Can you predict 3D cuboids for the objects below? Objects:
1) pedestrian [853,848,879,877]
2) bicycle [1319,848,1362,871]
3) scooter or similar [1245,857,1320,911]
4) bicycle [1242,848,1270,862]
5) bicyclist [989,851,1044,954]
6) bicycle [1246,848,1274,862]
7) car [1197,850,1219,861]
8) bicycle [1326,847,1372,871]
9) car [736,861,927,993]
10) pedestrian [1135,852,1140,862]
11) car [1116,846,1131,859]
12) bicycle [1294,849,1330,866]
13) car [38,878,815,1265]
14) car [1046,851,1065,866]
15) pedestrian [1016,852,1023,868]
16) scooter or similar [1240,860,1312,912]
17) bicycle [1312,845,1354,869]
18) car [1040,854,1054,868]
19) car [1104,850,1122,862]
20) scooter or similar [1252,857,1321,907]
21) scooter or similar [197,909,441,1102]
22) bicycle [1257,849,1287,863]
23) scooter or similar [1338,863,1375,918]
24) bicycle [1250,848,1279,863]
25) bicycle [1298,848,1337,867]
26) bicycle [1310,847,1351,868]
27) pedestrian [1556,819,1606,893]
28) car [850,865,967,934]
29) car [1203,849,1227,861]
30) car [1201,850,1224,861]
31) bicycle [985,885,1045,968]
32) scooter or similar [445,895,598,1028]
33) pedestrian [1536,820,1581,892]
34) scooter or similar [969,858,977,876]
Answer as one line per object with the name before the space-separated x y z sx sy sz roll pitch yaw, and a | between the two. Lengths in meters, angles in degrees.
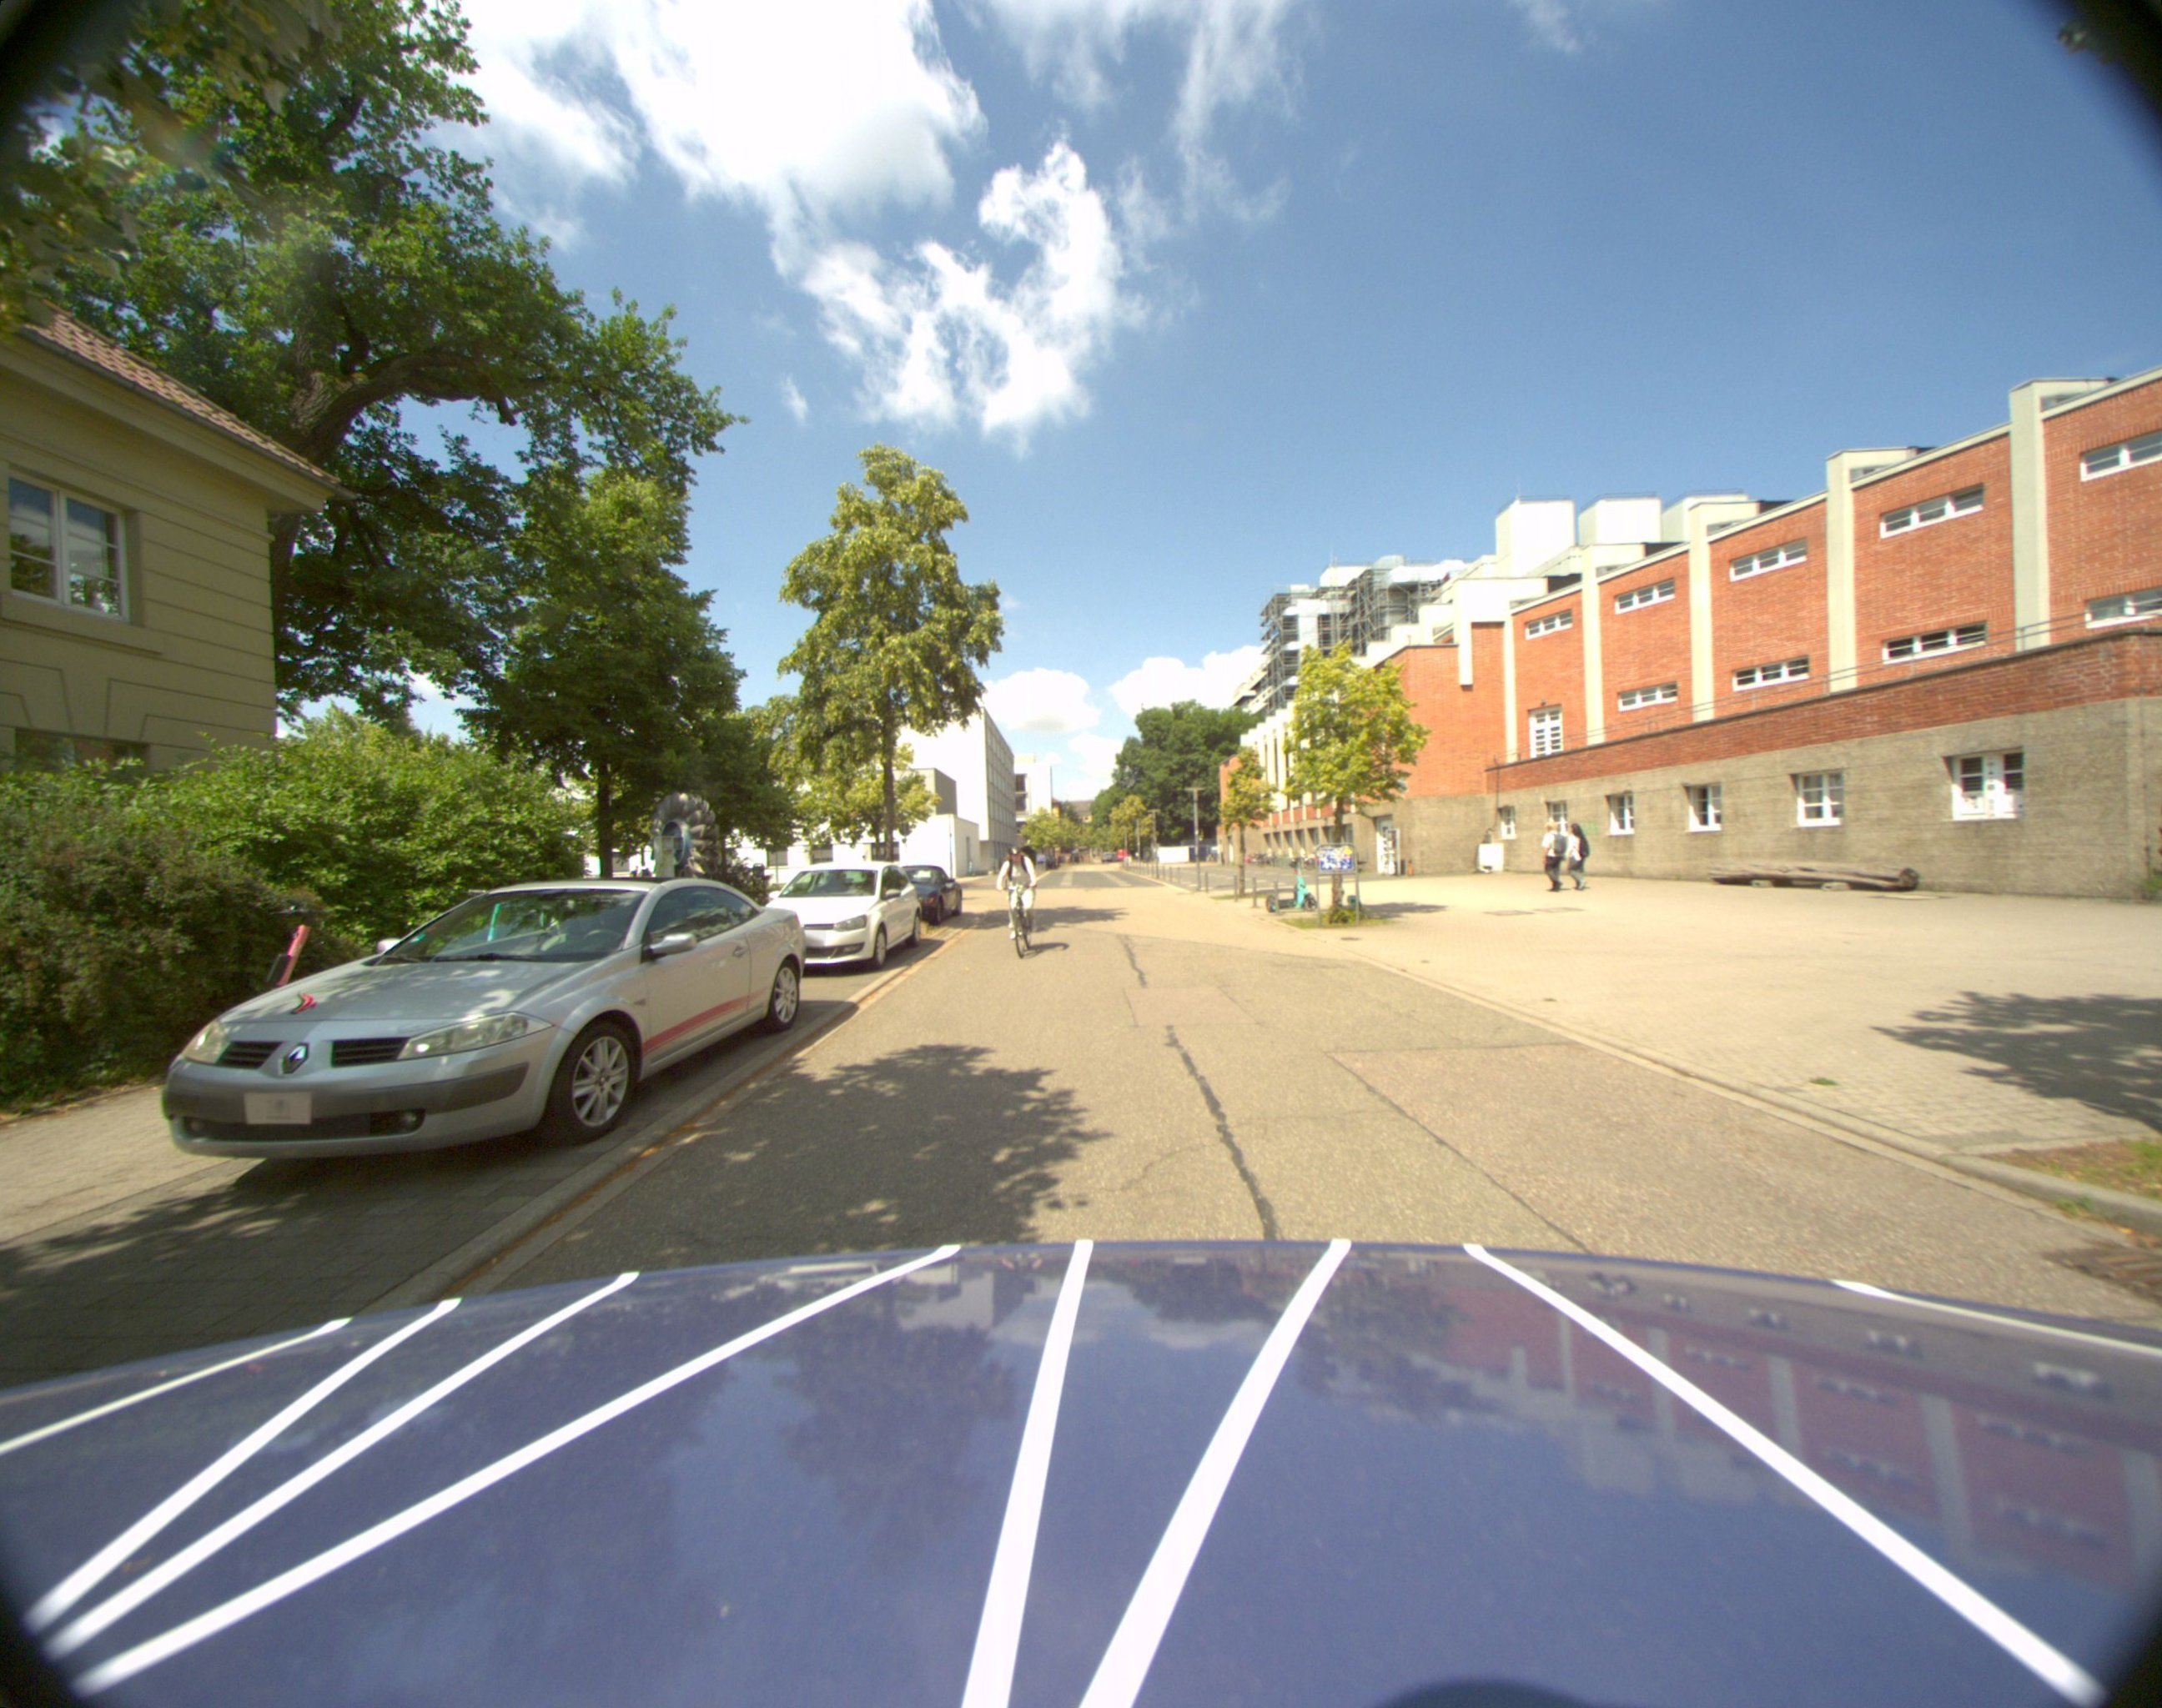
pedestrian | -13.498 0.534 47.787 1.168 1.789 1.023 0 0 28
bicycle | 13.444 0.290 39.364 2.026 1.119 0.592 -2 1 1
scooter or similar | 4.729 0.713 17.854 1.571 1.218 0.525 -2 1 27
bicycle | 13.622 0.101 59.145 1.955 1.024 0.542 -2 1 -1
bicyclist | -0.976 0.710 11.727 0.675 1.470 1.062 -2 2 1
bicycle | 13.728 0.094 58.322 1.955 1.024 0.518 -2 1 -1
car | 14.138 0.153 84.855 2.325 1.173 0.479 -2 1 1
bicycle | 13.198 0.235 37.457 2.027 1.119 0.667 -2 1 -1
car | -3.416 0.899 11.165 1.591 1.458 3.987 -2 1 -3
pedestrian | 8.947 0.415 120.794 0.642 1.530 0.453 -2 1 11
car | 6.451 -0.212 114.037 1.912 1.870 4.002 -2 0 6
bicycle | 13.741 0.220 45.235 1.955 0.955 0.684 -2 1 -1
car | -3.348 0.950 5.073 1.650 1.382 3.988 -1 1 1
car | -3.122 0.553 93.073 1.939 1.671 3.470 -2 0 4
pedestrian | -5.536 0.566 68.633 0.525 1.430 0.701 -2 1 3
scooter or similar | 4.765 0.789 18.587 1.571 1.218 0.566 -2 1 27
bicycle | 13.383 0.167 40.346 2.026 1.119 0.439 -4 1 4
car | -3.773 0.763 84.775 1.552 1.377 3.453 -2 0 -2
car | 5.955 0.332 140.288 2.023 2.079 4.439 -2 0 21
scooter or similar | 5.226 0.717 19.353 1.571 1.218 0.571 -2 1 27
scooter or similar | -5.925 1.101 5.958 0.595 1.259 1.268 -2 -1 37
bicycle | 13.655 0.131 54.393 1.955 0.935 0.569 -2 1 -1
scooter or similar | 6.118 0.790 16.938 0.564 1.142 1.350 -2 1 12
bicycle | 13.487 0.140 55.863 1.955 1.024 0.530 -2 1 -1
bicycle | 13.512 0.198 43.415 2.027 1.055 0.663 -2 1 -1
bicycle | 13.680 0.195 41.668 2.015 1.076 0.621 -2 1 -1
pedestrian | 12.486 0.045 19.006 0.577 1.769 0.917 -3 1 -1
car | -3.863 0.971 17.675 1.712 1.273 4.000 -2 0 1
car | 14.198 0.145 80.633 2.368 1.173 0.794 -2 1 1
car | 14.262 0.145 82.402 2.289 1.173 0.524 -2 1 1
bicycle | -0.983 1.078 11.878 0.675 1.066 2.136 -2 0 1
scooter or similar | -5.818 1.076 7.978 0.521 1.214 1.237 -1 1 10
pedestrian | 11.896 0.050 18.942 0.564 1.752 0.805 -2 1 -1
scooter or similar | -7.549 0.903 53.250 0.327 1.228 1.073 -2 1 2
